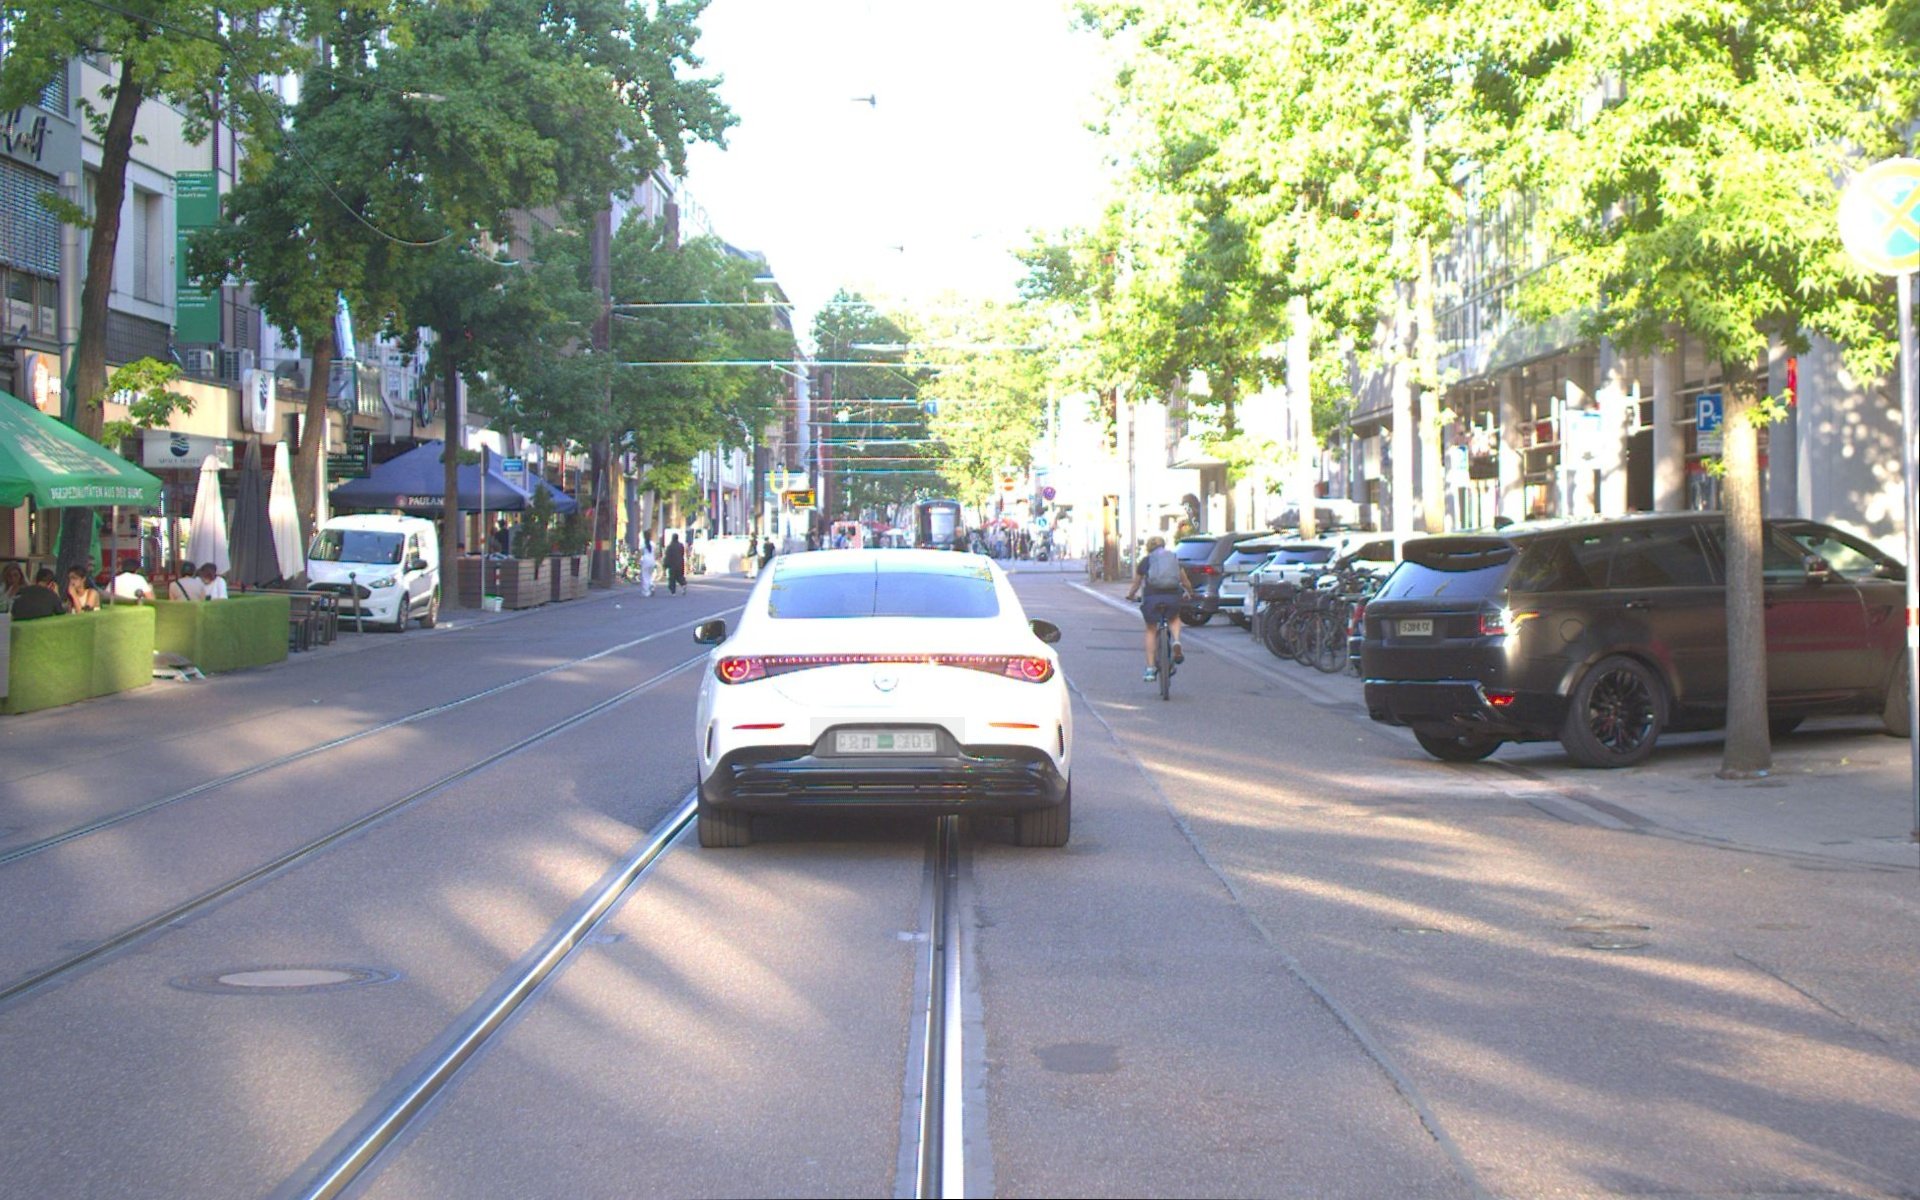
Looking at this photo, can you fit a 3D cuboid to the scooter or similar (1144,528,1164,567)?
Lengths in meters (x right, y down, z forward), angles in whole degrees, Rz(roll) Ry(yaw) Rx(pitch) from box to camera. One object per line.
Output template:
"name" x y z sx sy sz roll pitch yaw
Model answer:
"scooter or similar" 6.480 -1.761 114.952 0.491 1.273 0.660 -2 1 -11

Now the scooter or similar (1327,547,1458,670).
"scooter or similar" 4.841 0.097 38.427 1.302 1.271 0.564 -5 1 -31

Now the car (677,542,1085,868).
"car" -0.368 0.447 17.872 1.857 1.450 4.175 1 1 0

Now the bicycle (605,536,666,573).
"bicycle" -9.713 -1.363 103.058 1.788 1.073 0.377 1 1 -4

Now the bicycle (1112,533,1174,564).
"bicycle" 6.530 -1.830 122.559 2.113 1.092 0.610 -1 1 -12

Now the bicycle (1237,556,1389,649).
"bicycle" 4.631 0.032 45.115 1.890 1.116 0.667 -3 1 -29

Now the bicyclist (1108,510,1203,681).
"bicyclist" 1.896 -0.056 33.254 0.778 1.607 0.912 2 1 9

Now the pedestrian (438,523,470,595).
"pedestrian" -10.188 -0.827 69.215 0.549 1.424 0.583 1 1 -1

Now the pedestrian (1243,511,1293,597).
"pedestrian" 6.207 -0.925 69.234 0.680 1.679 0.695 -2 1 34

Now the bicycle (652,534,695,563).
"bicycle" -10.171 -1.826 122.054 1.492 1.025 0.345 1 1 -10

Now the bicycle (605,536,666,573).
"bicycle" -9.679 -1.357 102.630 1.788 1.073 0.377 1 1 -4

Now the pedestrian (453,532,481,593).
"pedestrian" -10.119 -0.773 70.529 0.494 1.223 0.535 1 1 -1

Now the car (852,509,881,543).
"car" -6.793 -5.363 250.115 1.910 2.452 5.275 -1 1 0

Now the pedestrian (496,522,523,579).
"pedestrian" -12.216 -1.356 93.198 0.597 1.527 0.671 1 1 1

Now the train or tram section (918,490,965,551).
"train or tram section" -1.096 -4.745 205.216 2.694 3.504 11.144 -1 1 0

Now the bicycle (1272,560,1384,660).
"bicycle" 4.628 0.120 43.192 0.481 1.159 1.691 -3 1 40

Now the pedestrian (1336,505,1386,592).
"pedestrian" 8.070 -1.035 69.132 0.689 1.725 0.631 -1 2 42

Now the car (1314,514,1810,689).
"car" 6.216 -0.005 35.242 5.046 1.464 1.977 -4 2 -35

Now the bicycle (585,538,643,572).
"bicycle" -10.009 -1.301 99.435 1.596 0.927 0.377 1 1 7

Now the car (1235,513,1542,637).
"car" 6.234 -0.378 49.899 4.147 1.566 1.854 -3 2 -33

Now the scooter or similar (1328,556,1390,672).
"scooter or similar" 4.569 0.145 39.386 0.451 1.271 1.307 -4 1 -1

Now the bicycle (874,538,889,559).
"bicycle" -4.369 -2.838 190.461 0.800 1.138 2.257 1 1 -1

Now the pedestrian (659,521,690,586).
"pedestrian" -6.975 -1.145 84.006 0.622 1.545 0.852 2 1 1

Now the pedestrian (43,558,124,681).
"pedestrian" -9.119 0.197 35.768 0.619 1.240 0.697 3 1 -1

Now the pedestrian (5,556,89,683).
"pedestrian" -9.254 0.191 34.853 0.619 1.240 0.697 3 1 -1

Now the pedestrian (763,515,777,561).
"pedestrian" -7.998 -2.617 144.628 0.539 1.922 0.573 0 1 4

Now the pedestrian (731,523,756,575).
"pedestrian" -7.585 -1.799 120.634 0.788 1.795 0.844 0 1 1

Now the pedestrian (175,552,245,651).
"pedestrian" -9.371 0.009 42.986 0.657 1.189 0.798 3 1 -1

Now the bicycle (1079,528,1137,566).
"bicycle" 5.176 -1.856 120.252 1.908 1.277 0.610 -2 1 -11

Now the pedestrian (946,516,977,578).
"pedestrian" 0.032 -1.550 100.078 0.841 1.795 0.790 1 1 1

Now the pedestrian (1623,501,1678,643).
"pedestrian" 8.662 -0.358 43.117 0.523 1.744 0.559 -3 1 2

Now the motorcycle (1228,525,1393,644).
"motorcycle" 4.771 -0.218 46.701 2.313 1.504 0.858 -4 1 -43

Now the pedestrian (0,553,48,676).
"pedestrian" -9.926 0.145 35.811 0.619 1.240 0.697 3 1 -1

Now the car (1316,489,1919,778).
"car" 5.094 0.177 24.772 4.651 1.757 1.995 -4 1 -29

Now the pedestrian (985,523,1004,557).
"pedestrian" 1.848 -3.211 182.856 0.960 1.779 0.804 -2 1 0

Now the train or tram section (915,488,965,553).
"train or tram section" -1.099 -4.485 193.376 2.694 3.504 12.546 -1 1 0

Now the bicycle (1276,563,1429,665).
"bicycle" 4.674 0.156 40.944 1.558 1.084 0.869 -4 3 -30

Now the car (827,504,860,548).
"car" -7.808 -4.988 231.364 1.993 2.887 5.275 -1 1 0

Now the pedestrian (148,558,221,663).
"pedestrian" -9.477 0.120 42.037 0.657 1.240 0.873 3 1 -1

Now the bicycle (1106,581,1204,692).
"bicycle" 1.907 0.336 33.411 0.719 0.992 2.058 2 2 9

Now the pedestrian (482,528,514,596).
"pedestrian" -9.291 -0.766 69.160 0.549 1.352 0.583 1 1 -1

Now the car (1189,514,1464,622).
"car" 6.127 -0.537 57.365 4.235 1.582 1.884 -3 2 -31

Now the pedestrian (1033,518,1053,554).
"pedestrian" 4.282 -3.296 177.037 0.960 1.779 0.804 -2 1 0

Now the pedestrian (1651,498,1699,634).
"pedestrian" 8.955 -0.434 43.087 0.517 1.690 0.550 0 1 5

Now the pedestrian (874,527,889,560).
"pedestrian" -4.361 -3.142 190.403 0.800 1.776 0.849 1 1 -1

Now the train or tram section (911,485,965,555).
"train or tram section" -1.108 -4.204 180.825 2.694 3.504 12.546 -1 1 0

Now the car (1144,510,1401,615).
"car" 5.587 -0.674 61.355 4.342 1.646 1.695 -3 2 -31

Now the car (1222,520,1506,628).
"car" 6.418 -0.422 54.592 4.145 1.494 1.689 -3 1 -23

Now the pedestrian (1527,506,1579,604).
"pedestrian" 9.977 -0.755 57.853 0.714 1.618 0.882 -2 1 1

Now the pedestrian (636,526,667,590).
"pedestrian" -7.460 -1.015 83.112 0.622 1.504 0.833 2 1 1

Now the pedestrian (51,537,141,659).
"pedestrian" -9.850 -0.027 39.216 0.754 1.339 0.873 3 1 -1

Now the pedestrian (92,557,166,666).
"pedestrian" -10.148 0.134 42.007 0.657 1.289 0.798 3 1 -1

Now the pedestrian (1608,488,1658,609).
"pedestrian" 9.896 -0.753 50.572 0.557 1.744 0.525 -3 1 0

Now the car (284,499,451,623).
"car" -9.575 -0.666 55.859 1.795 1.858 4.553 2 1 1
